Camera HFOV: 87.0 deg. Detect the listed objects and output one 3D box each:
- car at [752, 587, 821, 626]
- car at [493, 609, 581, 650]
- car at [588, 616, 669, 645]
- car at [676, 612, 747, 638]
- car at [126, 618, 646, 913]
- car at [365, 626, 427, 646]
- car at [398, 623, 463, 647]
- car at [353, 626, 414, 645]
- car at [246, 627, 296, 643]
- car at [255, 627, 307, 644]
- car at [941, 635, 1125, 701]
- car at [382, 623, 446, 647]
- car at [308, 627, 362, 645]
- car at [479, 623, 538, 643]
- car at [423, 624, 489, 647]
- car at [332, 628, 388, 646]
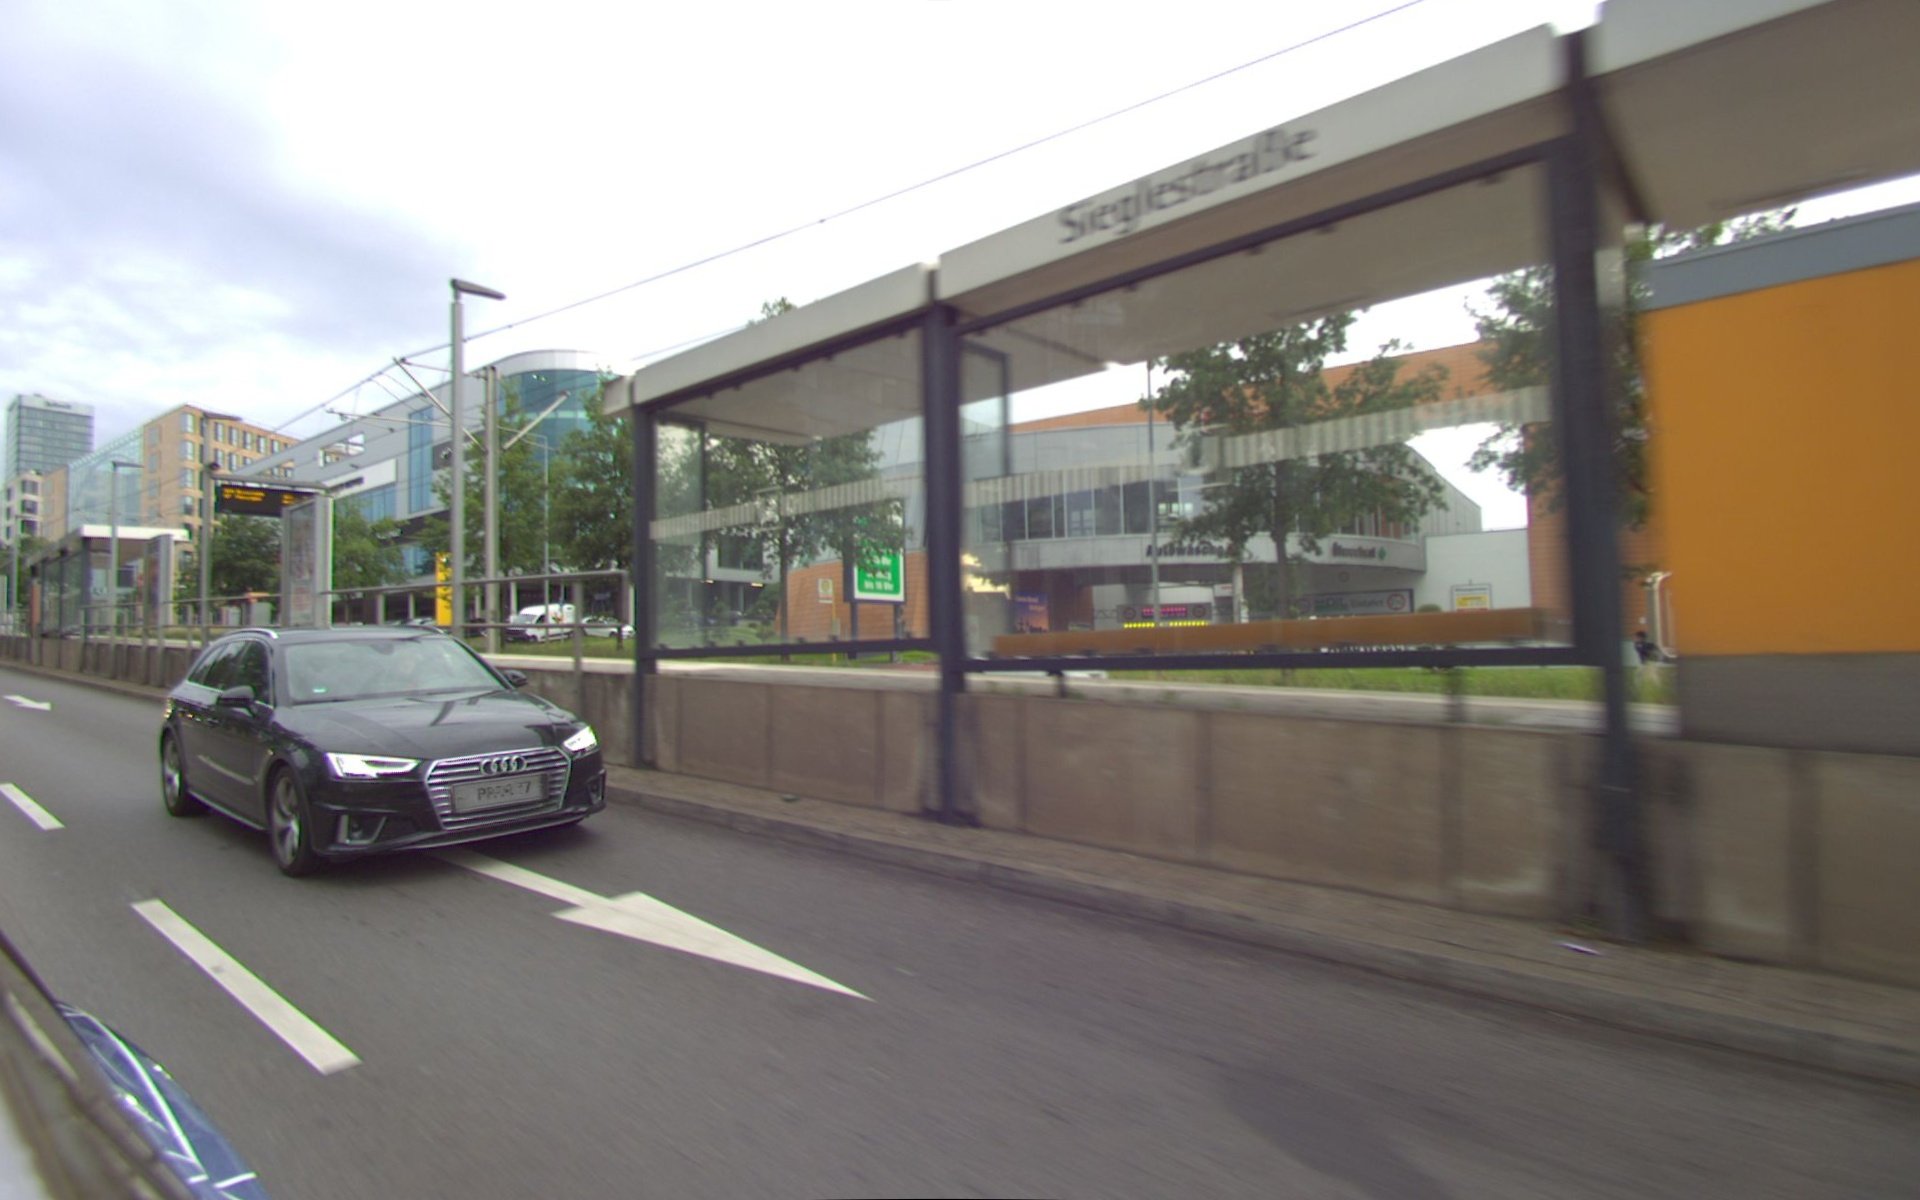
[{"bbox_3d":[-15.123,0.585,88.371,2.993,3.296,5.420,-1,0,35],"label":"car"},{"bbox_3d":[-28.676,1.964,68.826,2.265,2.649,5.441,-1,0,23],"label":"car"},{"bbox_3d":[-24.155,2.191,73.932,2.273,1.941,5.420,-1,0,34],"label":"car"},{"bbox_3d":[-19.775,1.951,80.741,2.273,1.941,5.420,-1,0,34],"label":"car"},{"bbox_3d":[-4.373,0.895,7.297,4.826,1.445,1.771,-2,-2,41],"label":"car"},{"bbox_3d":[-45.155,2.863,81.059,1.819,1.502,3.954,-2,-1,34],"label":"car"},{"bbox_3d":[-40.632,2.684,77.723,1.917,1.674,3.954,-2,0,34],"label":"car"},{"bbox_3d":[-47.471,2.912,83.367,1.819,1.502,3.954,-2,-1,34],"label":"car"},{"bbox_3d":[-68.234,3.489,100.305,1.809,1.502,3.820,-1,-1,18],"label":"car"},{"bbox_3d":[-66.195,3.448,98.703,1.812,1.502,3.814,-1,-1,22],"label":"car"},{"bbox_3d":[1.922,1.779,27.526,4.702,1.529,1.974,-1,0,39],"label":"car"},{"bbox_3d":[-42.769,2.720,79.326,1.917,1.674,3.954,-2,1,34],"label":"car"},{"bbox_3d":[-55.609,3.225,90.141,1.812,1.502,3.814,-1,-1,22],"label":"car"},{"bbox_3d":[-35.718,2.572,80.078,3.946,1.480,1.770,-1,-1,2],"label":"car"},{"bbox_3d":[-36.880,2.550,74.175,1.891,1.519,3.956,-1,0,32],"label":"car"},{"bbox_3d":[-51.600,3.160,87.060,1.812,1.502,3.814,-1,-1,22],"label":"car"}]
